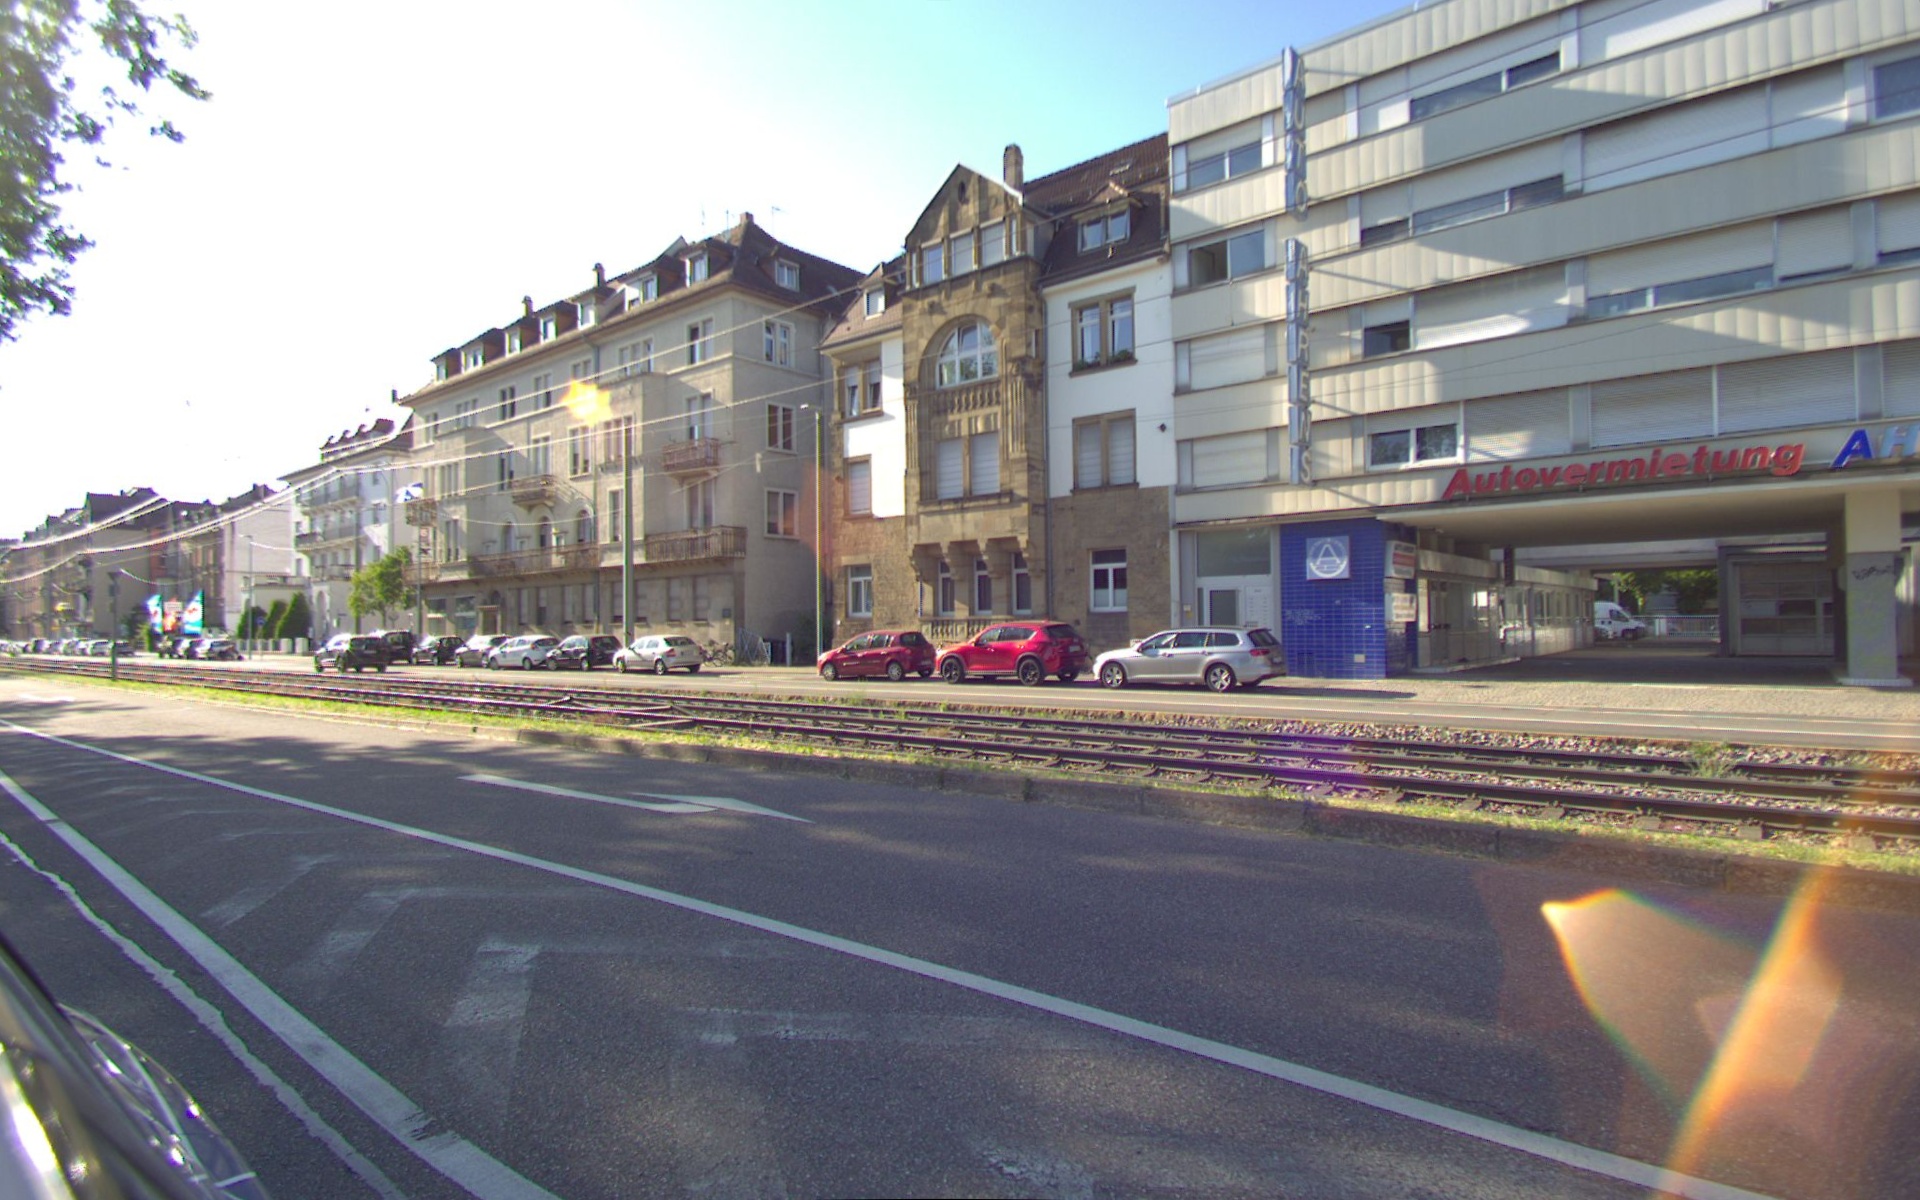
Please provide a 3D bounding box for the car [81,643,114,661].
[{"bbox_3d":[-86.702,5.242,101.677,4.841,1.707,1.900,-3,-1,42],"label":"car"}]

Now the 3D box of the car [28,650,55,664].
[{"bbox_3d":[-109.706,6.783,120.862,4.624,1.550,1.901,-2,-1,40],"label":"car"}]

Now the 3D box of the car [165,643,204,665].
[{"bbox_3d":[-60.158,4.197,78.483,4.158,1.518,1.618,-1,0,42],"label":"car"}]

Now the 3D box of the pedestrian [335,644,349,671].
[{"bbox_3d":[-40.001,3.707,65.527,0.581,1.709,0.860,-2,0,-20],"label":"pedestrian"}]

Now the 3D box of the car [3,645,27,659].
[{"bbox_3d":[-125.710,6.911,134.616,3.995,1.821,1.777,-2,-1,39],"label":"car"}]

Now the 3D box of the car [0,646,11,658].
[{"bbox_3d":[-137.742,7.484,145.336,4.629,1.655,1.775,-2,-1,43],"label":"car"}]

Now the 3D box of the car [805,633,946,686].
[{"bbox_3d":[-2.597,1.775,30.818,4.027,1.401,1.818,-2,1,36],"label":"car"}]

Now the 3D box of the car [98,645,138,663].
[{"bbox_3d":[-79.604,5.119,95.634,4.836,1.471,1.903,-3,3,39],"label":"car"}]

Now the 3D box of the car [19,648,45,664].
[{"bbox_3d":[-114.676,6.892,125.090,4.723,1.821,1.643,-2,-1,39],"label":"car"}]

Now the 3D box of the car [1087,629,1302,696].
[{"bbox_3d":[5.498,1.439,24.103,4.677,1.402,1.815,-2,-2,40],"label":"car"}]

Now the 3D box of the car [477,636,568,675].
[{"bbox_3d":[-19.215,2.435,44.390,3.970,1.479,1.623,-3,3,32],"label":"car"}]

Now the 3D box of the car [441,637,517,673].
[{"bbox_3d":[-22.790,2.580,47.869,4.155,1.480,1.619,-2,1,40],"label":"car"}]

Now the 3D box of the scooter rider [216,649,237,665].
[{"bbox_3d":[-51.100,3.961,70.542,0.962,1.097,0.810,0,-3,-19],"label":"scooter rider"}]

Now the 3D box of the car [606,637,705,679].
[{"bbox_3d":[-11.611,2.177,38.435,4.156,1.480,1.618,-3,-2,41],"label":"car"}]

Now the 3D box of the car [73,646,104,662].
[{"bbox_3d":[-90.996,5.603,105.630,4.842,1.572,1.900,-3,-1,43],"label":"car"}]

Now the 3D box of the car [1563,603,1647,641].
[{"bbox_3d":[40.976,1.404,64.332,4.337,2.309,1.840,-1,0,39],"label":"car"}]

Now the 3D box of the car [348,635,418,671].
[{"bbox_3d":[-31.570,2.891,55.322,4.397,1.800,1.844,-3,-1,39],"label":"car"}]

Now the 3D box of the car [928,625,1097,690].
[{"bbox_3d":[1.362,1.509,27.376,4.351,1.570,1.814,-2,-1,41],"label":"car"}]

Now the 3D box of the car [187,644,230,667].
[{"bbox_3d":[-56.034,4.098,75.435,3.998,1.521,1.775,-2,0,41],"label":"car"}]

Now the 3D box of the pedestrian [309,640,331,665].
[{"bbox_3d":[-47.030,3.862,74.397,0.930,1.791,0.986,-1,0,26],"label":"pedestrian"}]

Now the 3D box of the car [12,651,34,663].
[{"bbox_3d":[-118.800,7.242,128.289,3.978,1.457,1.643,-2,-1,40],"label":"car"}]

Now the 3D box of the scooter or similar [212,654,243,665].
[{"bbox_3d":[-51.060,4.154,70.550,1.542,0.776,0.810,0,-3,-19],"label":"scooter or similar"}]

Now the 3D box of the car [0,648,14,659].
[{"bbox_3d":[-134.298,7.469,142.096,3.762,1.457,1.643,-2,-1,40],"label":"car"}]

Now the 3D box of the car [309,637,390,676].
[{"bbox_3d":[-26.332,2.431,43.637,4.153,1.614,1.619,-2,-3,38],"label":"car"}]

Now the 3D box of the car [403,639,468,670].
[{"bbox_3d":[-26.743,2.782,51.565,3.504,1.401,1.612,-3,1,39],"label":"car"}]

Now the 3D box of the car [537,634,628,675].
[{"bbox_3d":[-15.687,2.241,41.948,4.155,1.479,1.619,-2,3,40],"label":"car"}]

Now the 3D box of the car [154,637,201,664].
[{"bbox_3d":[-64.480,4.137,83.366,5.590,2.025,2.055,-2,0,42],"label":"car"}]
